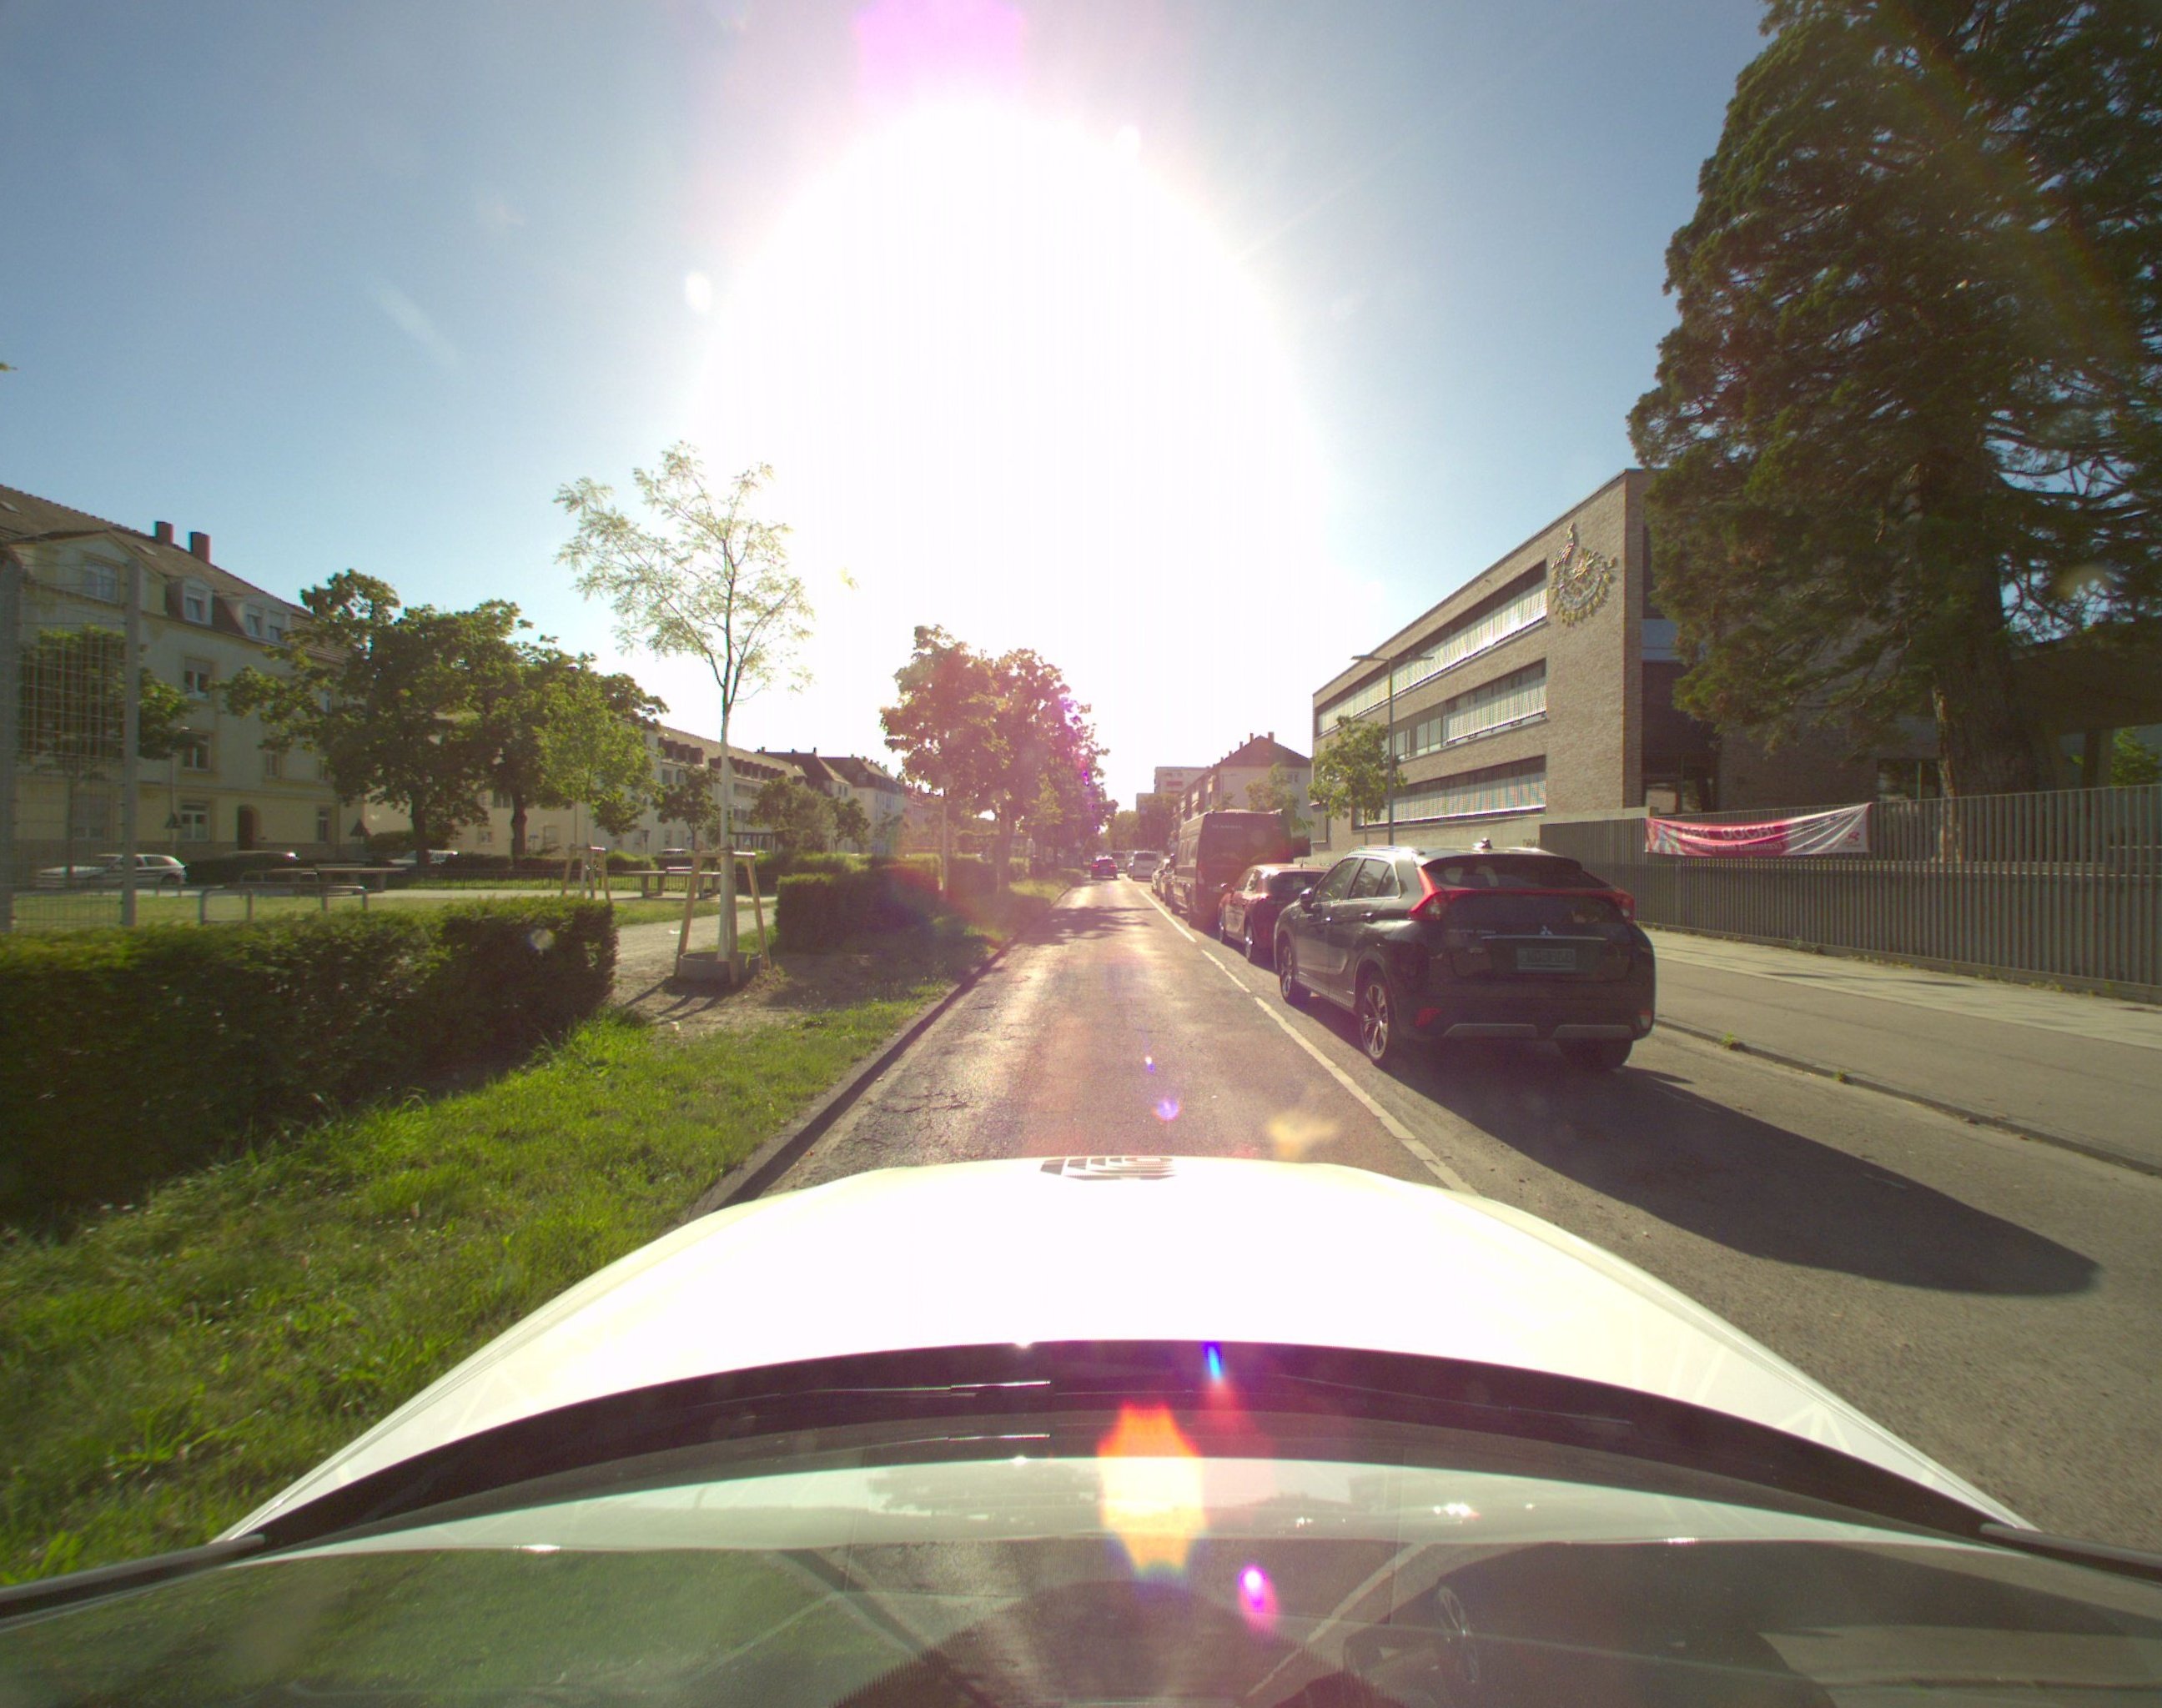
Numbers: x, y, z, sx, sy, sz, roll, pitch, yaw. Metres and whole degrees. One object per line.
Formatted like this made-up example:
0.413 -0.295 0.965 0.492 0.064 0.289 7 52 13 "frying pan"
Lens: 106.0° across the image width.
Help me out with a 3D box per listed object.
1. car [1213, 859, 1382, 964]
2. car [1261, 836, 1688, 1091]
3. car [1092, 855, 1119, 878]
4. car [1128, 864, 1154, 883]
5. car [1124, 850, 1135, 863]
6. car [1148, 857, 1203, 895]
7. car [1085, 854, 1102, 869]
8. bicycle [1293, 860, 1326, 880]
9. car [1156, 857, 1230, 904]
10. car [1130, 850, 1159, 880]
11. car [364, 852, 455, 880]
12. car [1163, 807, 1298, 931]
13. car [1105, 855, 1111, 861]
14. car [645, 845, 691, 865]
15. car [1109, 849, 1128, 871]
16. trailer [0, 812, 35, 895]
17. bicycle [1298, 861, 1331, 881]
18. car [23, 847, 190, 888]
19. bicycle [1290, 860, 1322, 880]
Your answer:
3.350 0.815 13.368 1.788 1.455 3.950 0 0 1 "car"
3.046 0.713 7.528 1.840 1.640 4.504 0 0 1 "car"
1.708 0.817 55.822 1.787 1.510 4.002 1 0 2 "car"
4.352 1.385 59.425 1.758 1.319 4.169 1 -1 2 "car"
9.003 0.448 151.493 1.986 2.430 4.502 2 0 2 "car"
3.745 0.836 32.983 1.788 1.420 4.658 0 0 1 "car"
1.436 0.835 90.824 1.787 1.624 4.002 1 0 2 "car"
13.705 0.971 48.894 1.789 1.107 0.500 -2 0 -1 "bicycle"
3.634 0.820 27.201 1.986 1.420 4.638 0 0 2 "car"
4.100 0.657 53.222 1.786 1.855 4.417 1 0 4 "car"
-38.485 0.668 46.810 1.787 1.510 4.002 1 0 2 "car"
3.381 0.312 19.836 2.108 2.515 6.531 0 0 0 "car"
7.926 1.191 242.654 1.787 1.510 4.002 0 0 2 "car"
-35.425 0.063 69.991 1.788 1.652 4.001 1 0 1 "car"
3.595 0.560 78.244 1.787 2.122 4.002 1 0 2 "car"
-38.969 -0.037 26.469 2.335 2.870 5.803 1 0 1 "trailer"
13.680 0.973 47.750 1.789 1.107 0.500 -2 0 -1 "bicycle"
-38.905 0.512 32.676 1.787 1.510 4.002 1 0 2 "car"
13.656 0.973 49.416 1.789 1.107 0.500 -2 0 -1 "bicycle"
